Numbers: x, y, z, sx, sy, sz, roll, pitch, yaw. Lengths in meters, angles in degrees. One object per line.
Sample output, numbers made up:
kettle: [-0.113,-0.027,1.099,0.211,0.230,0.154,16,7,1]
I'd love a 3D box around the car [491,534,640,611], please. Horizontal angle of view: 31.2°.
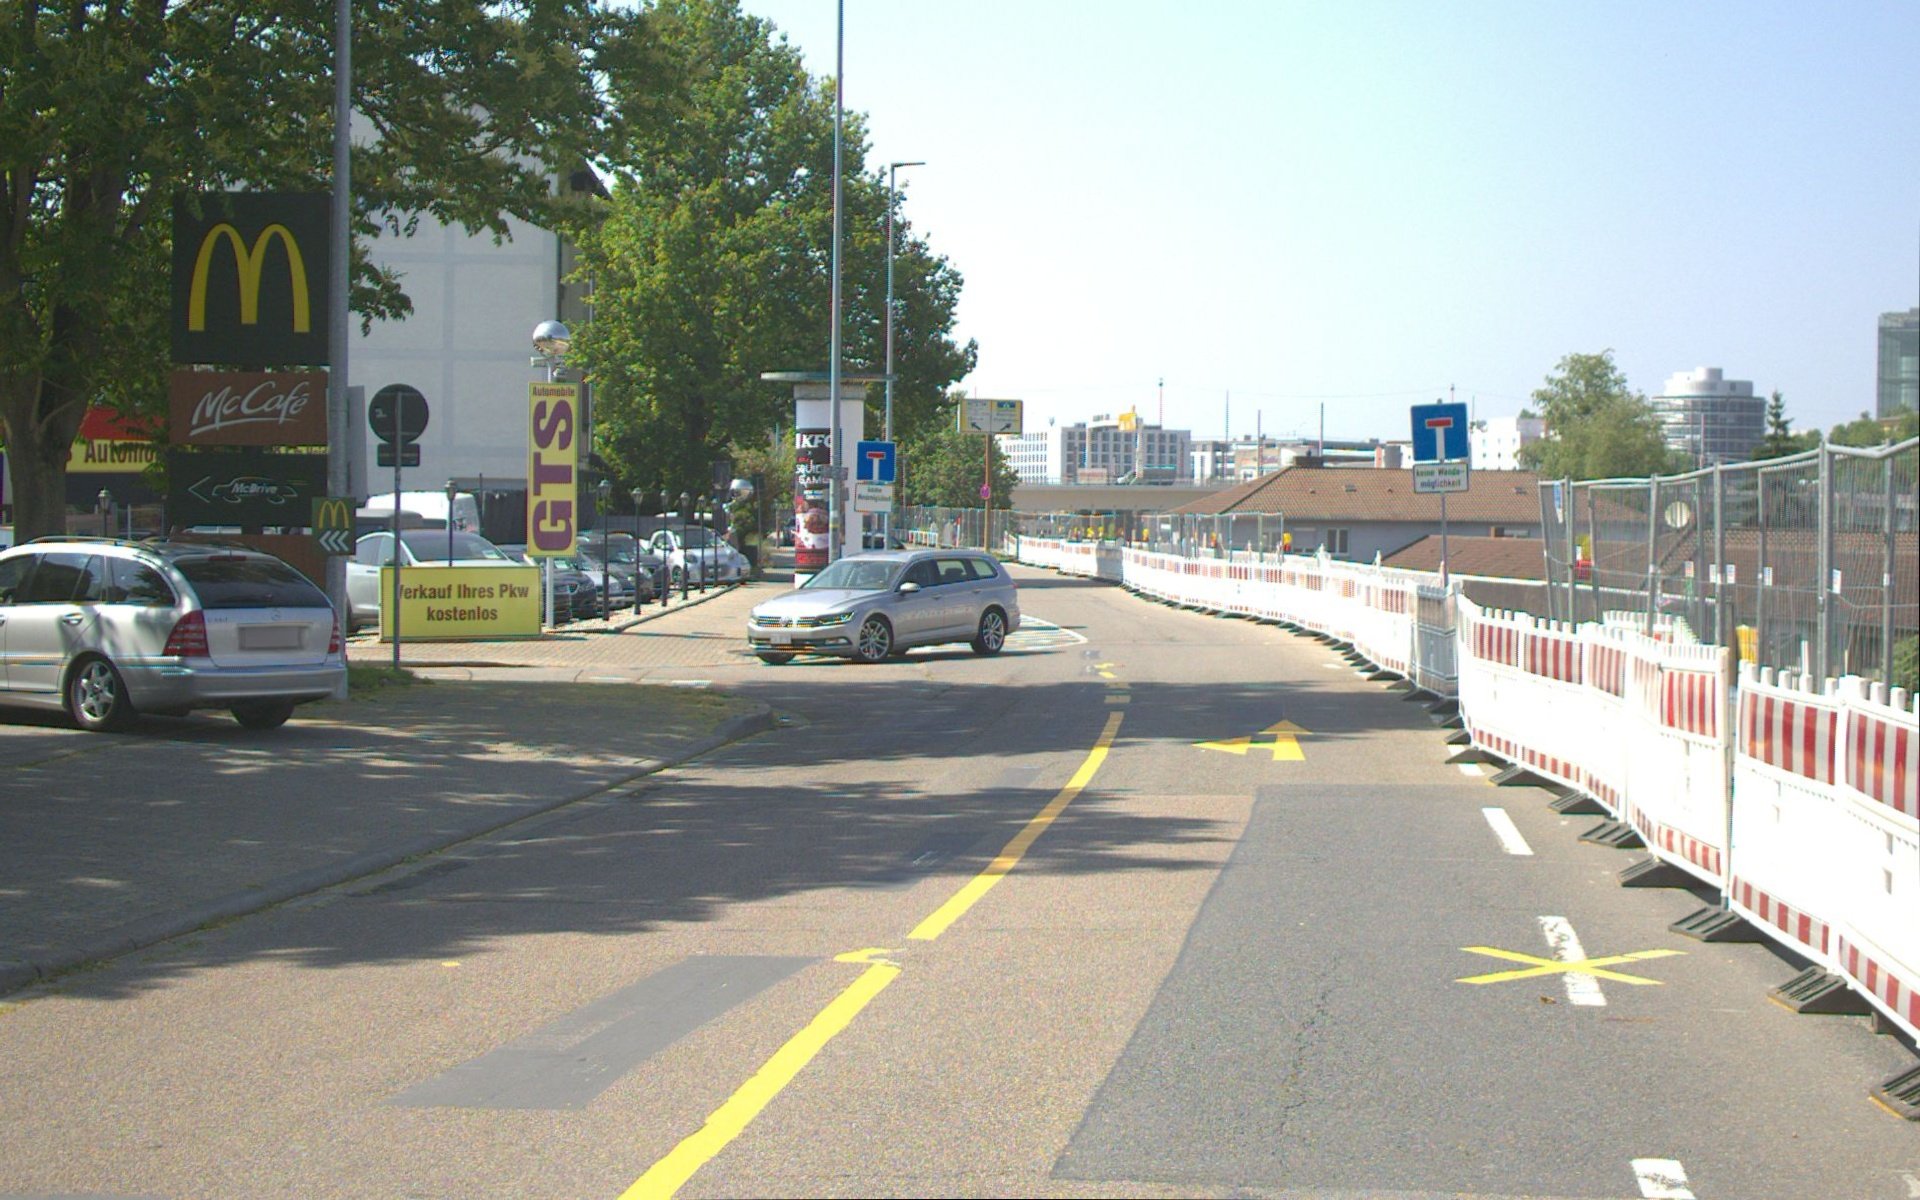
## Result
car: [-8.165,-0.561,70.903,1.779,1.468,4.001,-3,2,-26]

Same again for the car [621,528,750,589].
car: [-7.028,-1.061,87.605,1.776,1.468,4.000,-3,2,-28]

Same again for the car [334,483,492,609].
car: [-11.481,-1.112,72.603,2.246,2.422,5.719,4,0,0]

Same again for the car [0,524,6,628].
car: [-19.409,-0.405,59.930,4.878,1.836,2.162,-1,1,-38]

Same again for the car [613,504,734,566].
car: [-9.613,-2.168,115.184,3.922,1.952,1.760,2,1,-7]

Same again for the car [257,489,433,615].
car: [-11.780,-0.893,66.175,2.246,2.342,4.823,0,0,4]

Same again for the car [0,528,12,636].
car: [-16.303,-0.284,54.310,1.804,1.650,4.316,-2,2,-25]

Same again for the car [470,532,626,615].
car: [-7.865,-0.518,65.367,1.836,1.468,4.001,-3,2,-23]

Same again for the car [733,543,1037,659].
car: [-0.961,-0.029,46.893,1.681,1.488,4.596,1,1,37]

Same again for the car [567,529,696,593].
car: [-8.058,-0.953,84.183,1.667,1.468,4.000,-3,2,-28]

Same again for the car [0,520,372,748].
car: [-6.600,0.188,26.077,4.382,1.399,1.710,4,4,39]

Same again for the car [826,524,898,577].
car: [-2.936,-1.505,103.598,1.869,1.493,4.031,0,2,3]

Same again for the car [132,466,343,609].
car: [-14.396,-1.221,68.916,2.277,2.748,6.151,0,0,7]

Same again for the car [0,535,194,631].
car: [-15.351,-0.338,60.348,1.910,1.569,4.685,1,2,13]

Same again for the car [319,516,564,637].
car: [-8.323,-0.350,54.862,1.975,1.701,4.663,-2,-1,-35]
